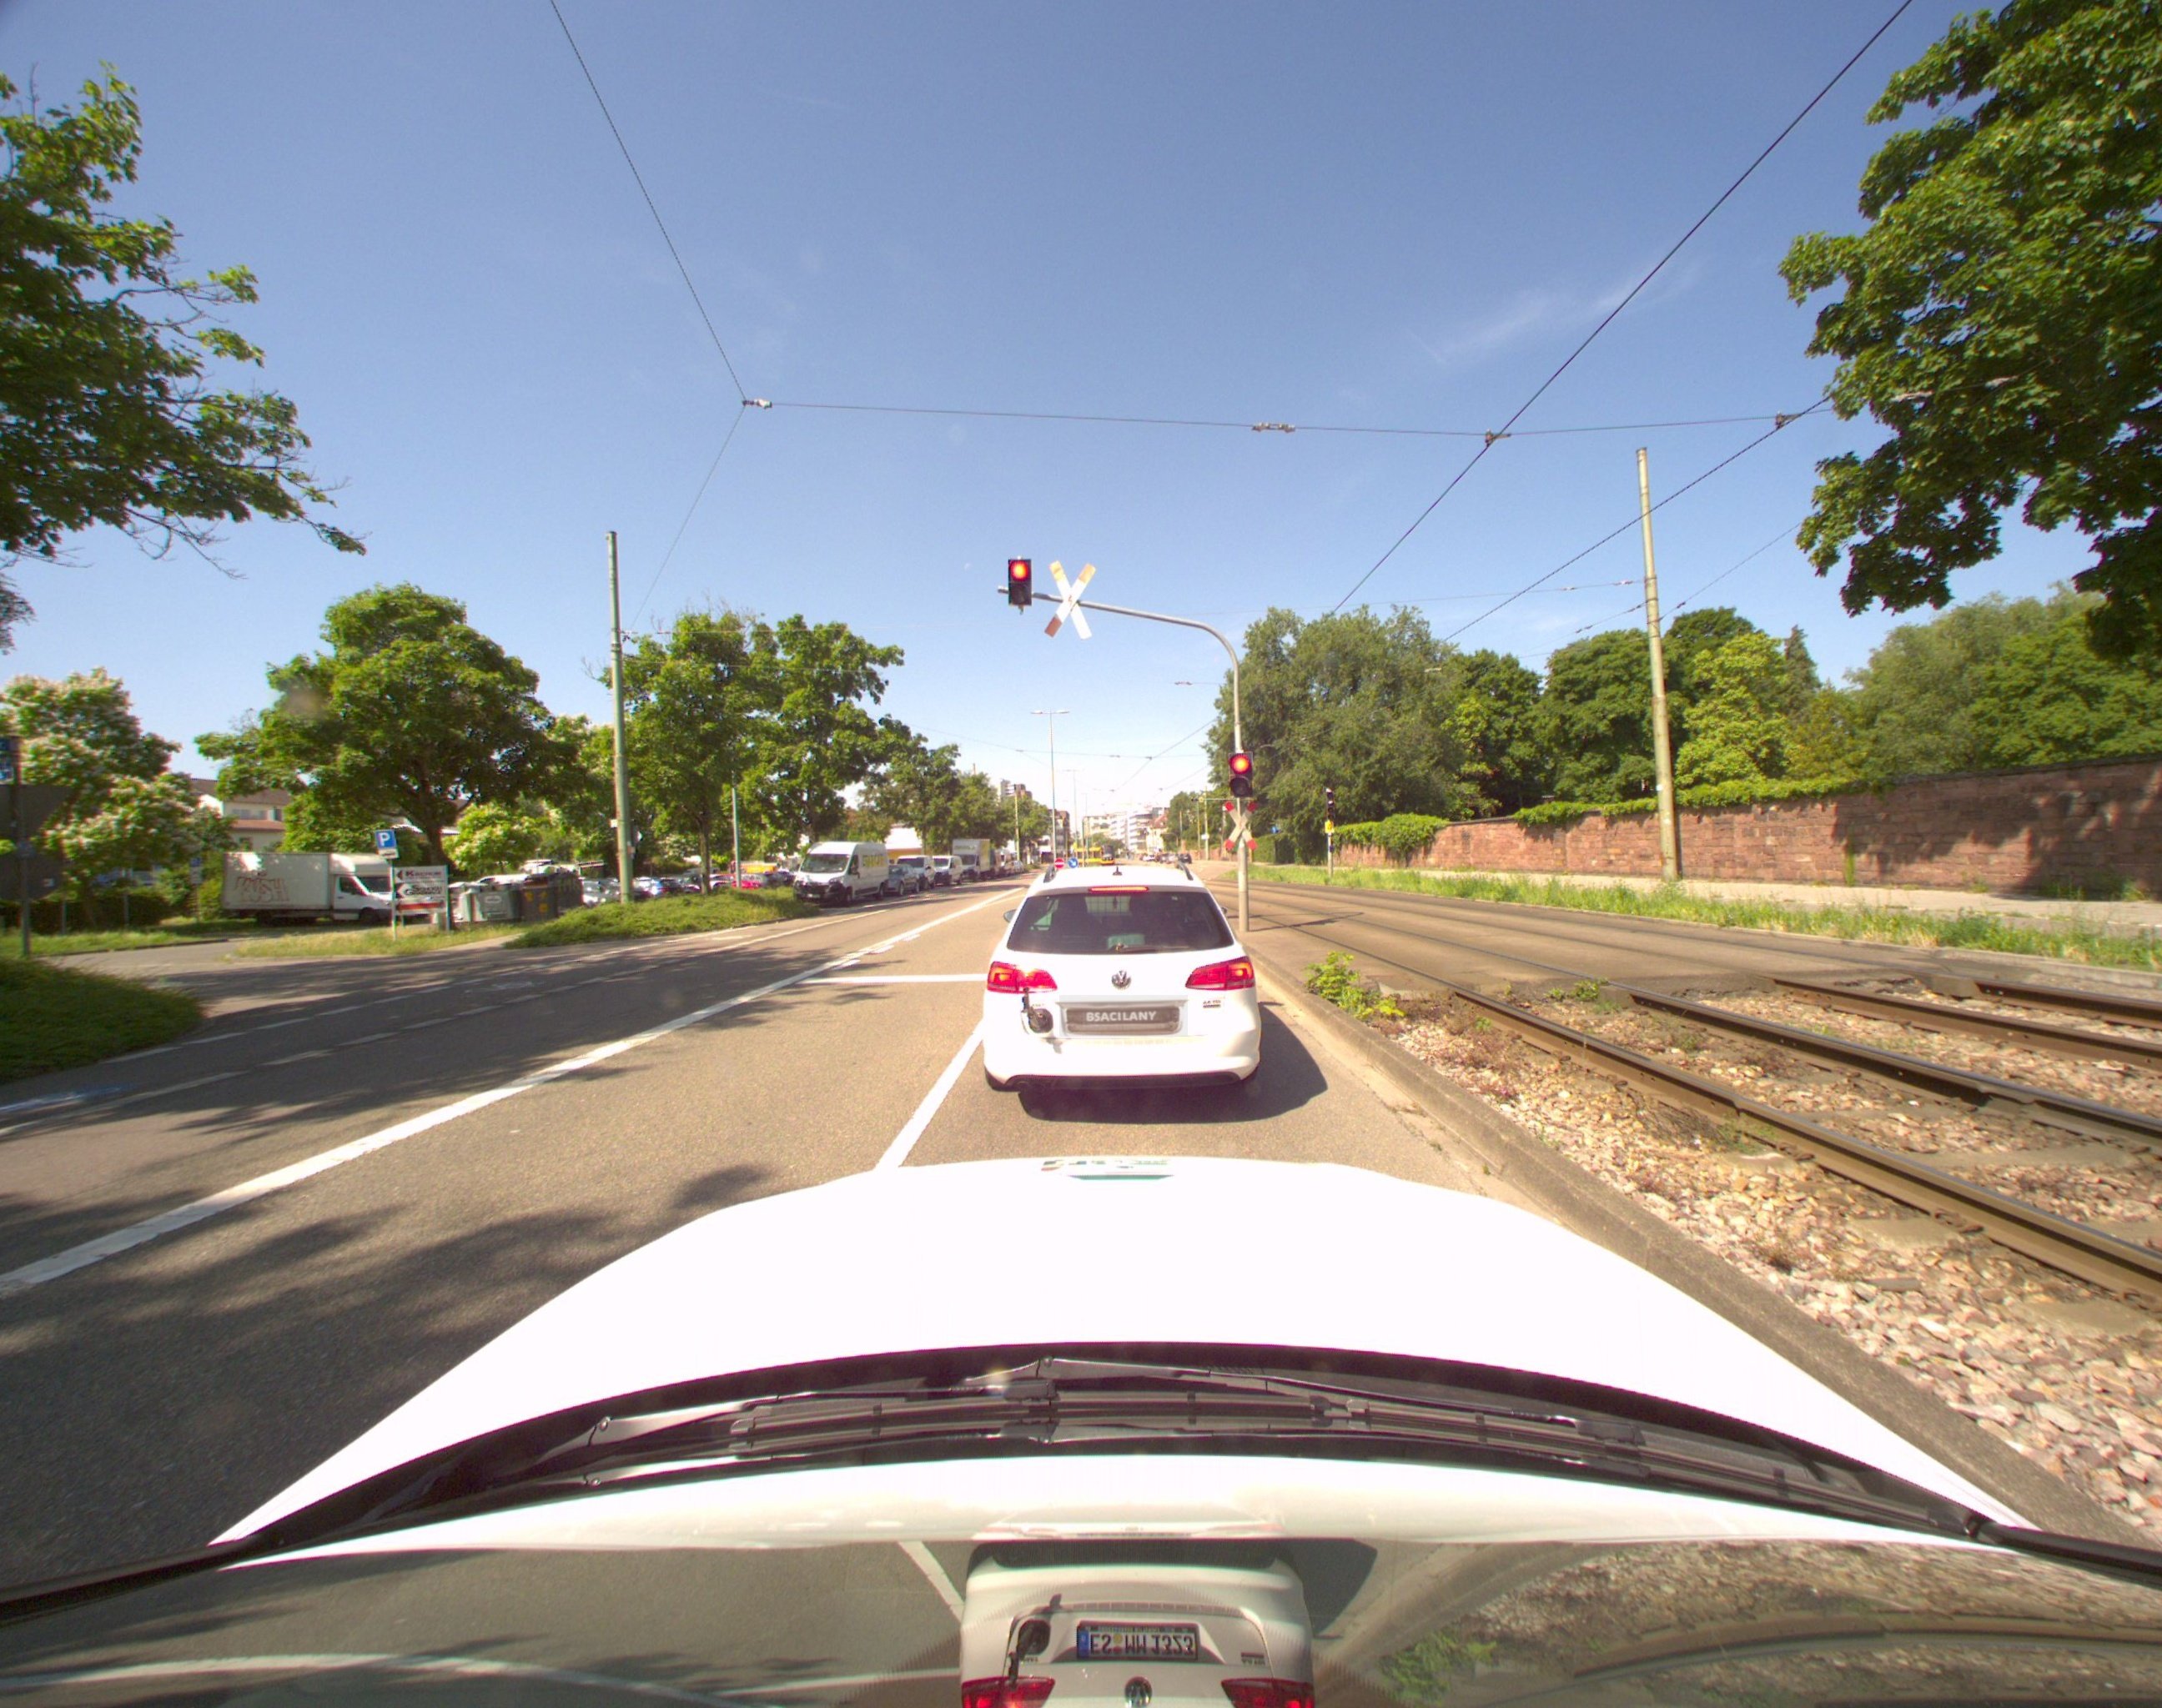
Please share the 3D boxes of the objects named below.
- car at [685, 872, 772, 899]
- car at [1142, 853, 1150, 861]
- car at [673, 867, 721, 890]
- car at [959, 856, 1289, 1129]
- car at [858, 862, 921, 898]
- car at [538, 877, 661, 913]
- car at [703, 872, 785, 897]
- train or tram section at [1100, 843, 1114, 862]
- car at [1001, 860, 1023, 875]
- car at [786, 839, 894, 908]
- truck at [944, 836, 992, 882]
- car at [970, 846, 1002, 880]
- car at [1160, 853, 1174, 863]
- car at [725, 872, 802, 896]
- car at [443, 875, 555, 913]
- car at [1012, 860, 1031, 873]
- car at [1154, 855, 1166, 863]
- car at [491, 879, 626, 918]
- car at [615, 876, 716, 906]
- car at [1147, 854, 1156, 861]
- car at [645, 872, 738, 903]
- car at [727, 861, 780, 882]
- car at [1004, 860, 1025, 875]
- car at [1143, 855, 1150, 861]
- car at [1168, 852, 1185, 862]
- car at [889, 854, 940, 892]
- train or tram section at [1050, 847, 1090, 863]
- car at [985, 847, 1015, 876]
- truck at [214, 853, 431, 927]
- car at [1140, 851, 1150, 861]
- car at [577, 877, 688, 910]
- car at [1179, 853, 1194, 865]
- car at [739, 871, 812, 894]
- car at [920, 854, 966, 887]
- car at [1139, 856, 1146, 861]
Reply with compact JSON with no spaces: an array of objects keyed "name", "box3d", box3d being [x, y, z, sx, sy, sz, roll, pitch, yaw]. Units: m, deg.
[{"name":"car","box3d":[-19.408,1.724,44.925,3.969,1.264,1.773,-3,0,4]},{"name":"car","box3d":[16.079,0.807,201.080,1.685,1.812,3.455,0,-1,1]},{"name":"car","box3d":[-34.344,2.172,72.917,3.412,1.876,1.552,-3,0,-1]},{"name":"car","box3d":[0.266,0.747,6.328,1.762,1.446,3.914,0,0,1]},{"name":"car","box3d":[-9.070,1.192,38.990,1.837,1.516,4.199,-3,0,2]},{"name":"car","box3d":[-19.901,1.694,33.786,3.974,1.225,1.771,-3,0,0]},{"name":"car","box3d":[-19.643,1.779,47.527,3.969,1.225,1.773,-3,0,4]},{"name":"train or tram section","box3d":[4.554,-0.180,142.046,2.292,3.253,11.279,0,-1,2]},{"name":"car","box3d":[-7.249,1.406,85.802,1.837,1.433,4.039,-3,0,2]},{"name":"car","box3d":[-9.543,0.694,32.939,2.049,2.501,6.315,0,0,4]},{"name":"truck","box3d":[-8.318,0.377,60.668,2.348,3.122,6.892,-3,0,1]},{"name":"car","box3d":[-7.948,0.748,68.474,1.836,2.668,5.006,-3,0,2]},{"name":"car","box3d":[13.865,0.611,131.154,1.855,1.513,3.913,0,0,0]},{"name":"car","box3d":[-19.508,1.817,50.121,3.969,1.225,1.773,-3,0,4]},{"name":"car","box3d":[-32.198,2.196,45.171,4.683,2.014,1.997,0,-1,-4]},{"name":"car","box3d":[-7.116,1.474,96.948,1.774,1.433,4.039,-3,0,2]},{"name":"car","box3d":[14.207,0.844,147.227,1.740,1.407,3.912,0,0,0]},{"name":"car","box3d":[-19.998,1.692,31.306,3.974,1.225,1.771,-3,0,0]},{"name":"car","box3d":[-20.277,1.796,39.843,3.969,1.225,1.773,-3,0,4]},{"name":"car","box3d":[14.586,0.750,168.932,1.576,1.346,3.455,0,-1,1]},{"name":"car","box3d":[-20.286,1.723,42.527,3.969,1.350,1.773,-3,0,4]},{"name":"car","box3d":[-31.312,1.682,77.936,4.249,2.014,1.997,0,-1,-5]},{"name":"car","box3d":[-7.476,1.497,91.276,1.837,1.433,4.039,-3,0,2]},{"name":"car","box3d":[15.114,0.981,187.961,1.576,1.346,3.455,0,-1,1]},{"name":"car","box3d":[13.606,0.411,116.218,1.855,1.416,4.325,0,0,0]},{"name":"car","box3d":[-9.273,1.000,45.724,1.839,1.937,5.189,-3,0,-2]},{"name":"train or tram section","box3d":[-2.463,0.187,170.573,2.320,3.253,10.682,1,-1,-39]},{"name":"car","box3d":[-7.534,0.695,76.262,1.836,2.494,5.860,-3,0,2]},{"name":"truck","box3d":[-32.463,1.503,35.029,7.119,3.019,2.231,0,0,-1]},{"name":"car","box3d":[17.382,0.511,220.926,2.454,2.499,5.912,0,-1,1]},{"name":"car","box3d":[-20.095,1.745,36.611,3.969,1.225,1.773,-3,0,4]},{"name":"car","box3d":[13.392,0.630,103.502,1.738,1.388,3.918,-1,0,5]},{"name":"car","box3d":[-19.633,1.842,52.449,3.969,1.225,1.773,-3,0,4]},{"name":"car","box3d":[-8.793,1.019,52.309,1.836,1.960,5.137,-3,0,2]},{"name":"car","box3d":[17.947,1.378,237.485,1.986,1.596,4.002,0,-1,2]}]
